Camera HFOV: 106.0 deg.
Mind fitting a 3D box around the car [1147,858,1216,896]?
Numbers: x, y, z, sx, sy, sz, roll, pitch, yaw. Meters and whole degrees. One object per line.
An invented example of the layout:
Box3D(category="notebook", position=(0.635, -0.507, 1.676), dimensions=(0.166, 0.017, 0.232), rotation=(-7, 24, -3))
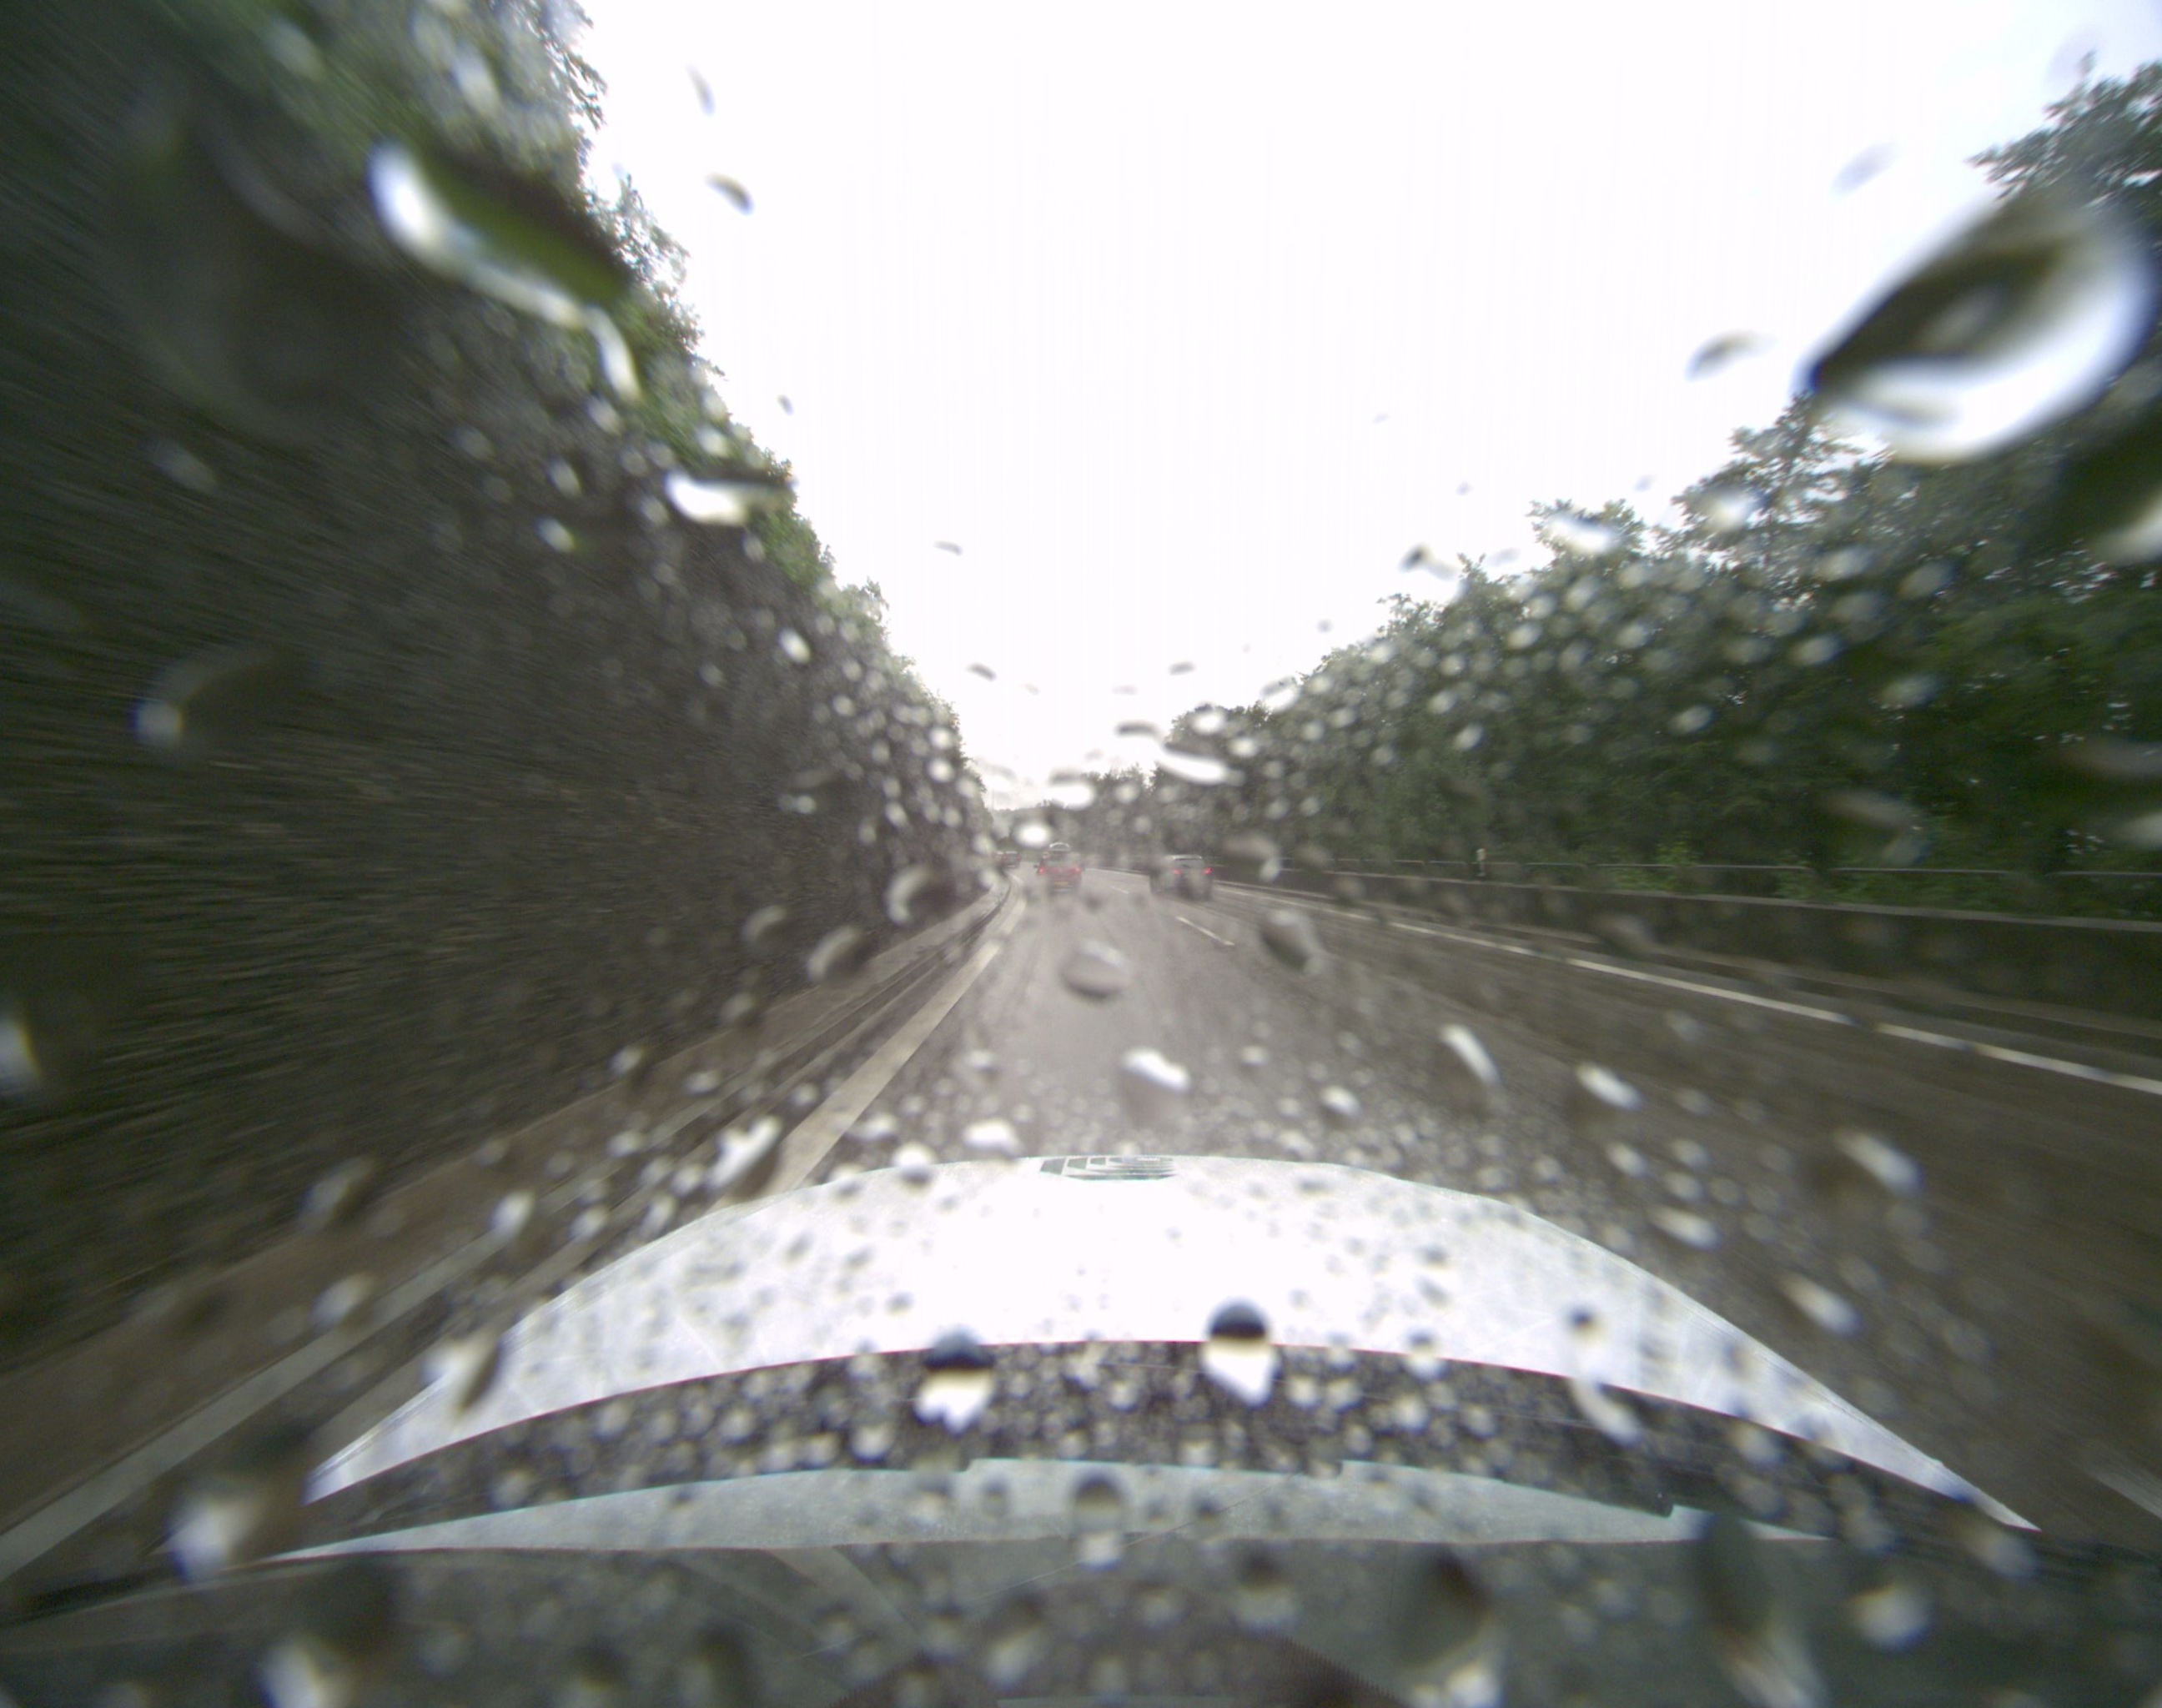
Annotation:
Box3D(category="car", position=(3.699, 0.817, 30.498), dimensions=(1.797, 1.308, 3.993), rotation=(-1, -1, -5))

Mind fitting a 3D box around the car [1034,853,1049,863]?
Box3D(category="car", position=(-5.777, 0.555, 118.435), dimensions=(1.800, 1.467, 3.987), rotation=(-1, -1, -9))

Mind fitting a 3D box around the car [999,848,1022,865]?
Box3D(category="car", position=(-7.311, 0.259, 84.242), dimensions=(1.994, 1.684, 3.986), rotation=(0, -1, -10))

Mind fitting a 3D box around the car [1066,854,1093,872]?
Box3D(category="car", position=(-0.190, 0.754, 70.385), dimensions=(1.990, 1.552, 3.993), rotation=(-1, 0, -5))

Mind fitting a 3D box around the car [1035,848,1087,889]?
Box3D(category="car", position=(-0.878, 0.577, 33.636), dimensions=(1.989, 1.552, 3.996), rotation=(-1, -1, -3))
